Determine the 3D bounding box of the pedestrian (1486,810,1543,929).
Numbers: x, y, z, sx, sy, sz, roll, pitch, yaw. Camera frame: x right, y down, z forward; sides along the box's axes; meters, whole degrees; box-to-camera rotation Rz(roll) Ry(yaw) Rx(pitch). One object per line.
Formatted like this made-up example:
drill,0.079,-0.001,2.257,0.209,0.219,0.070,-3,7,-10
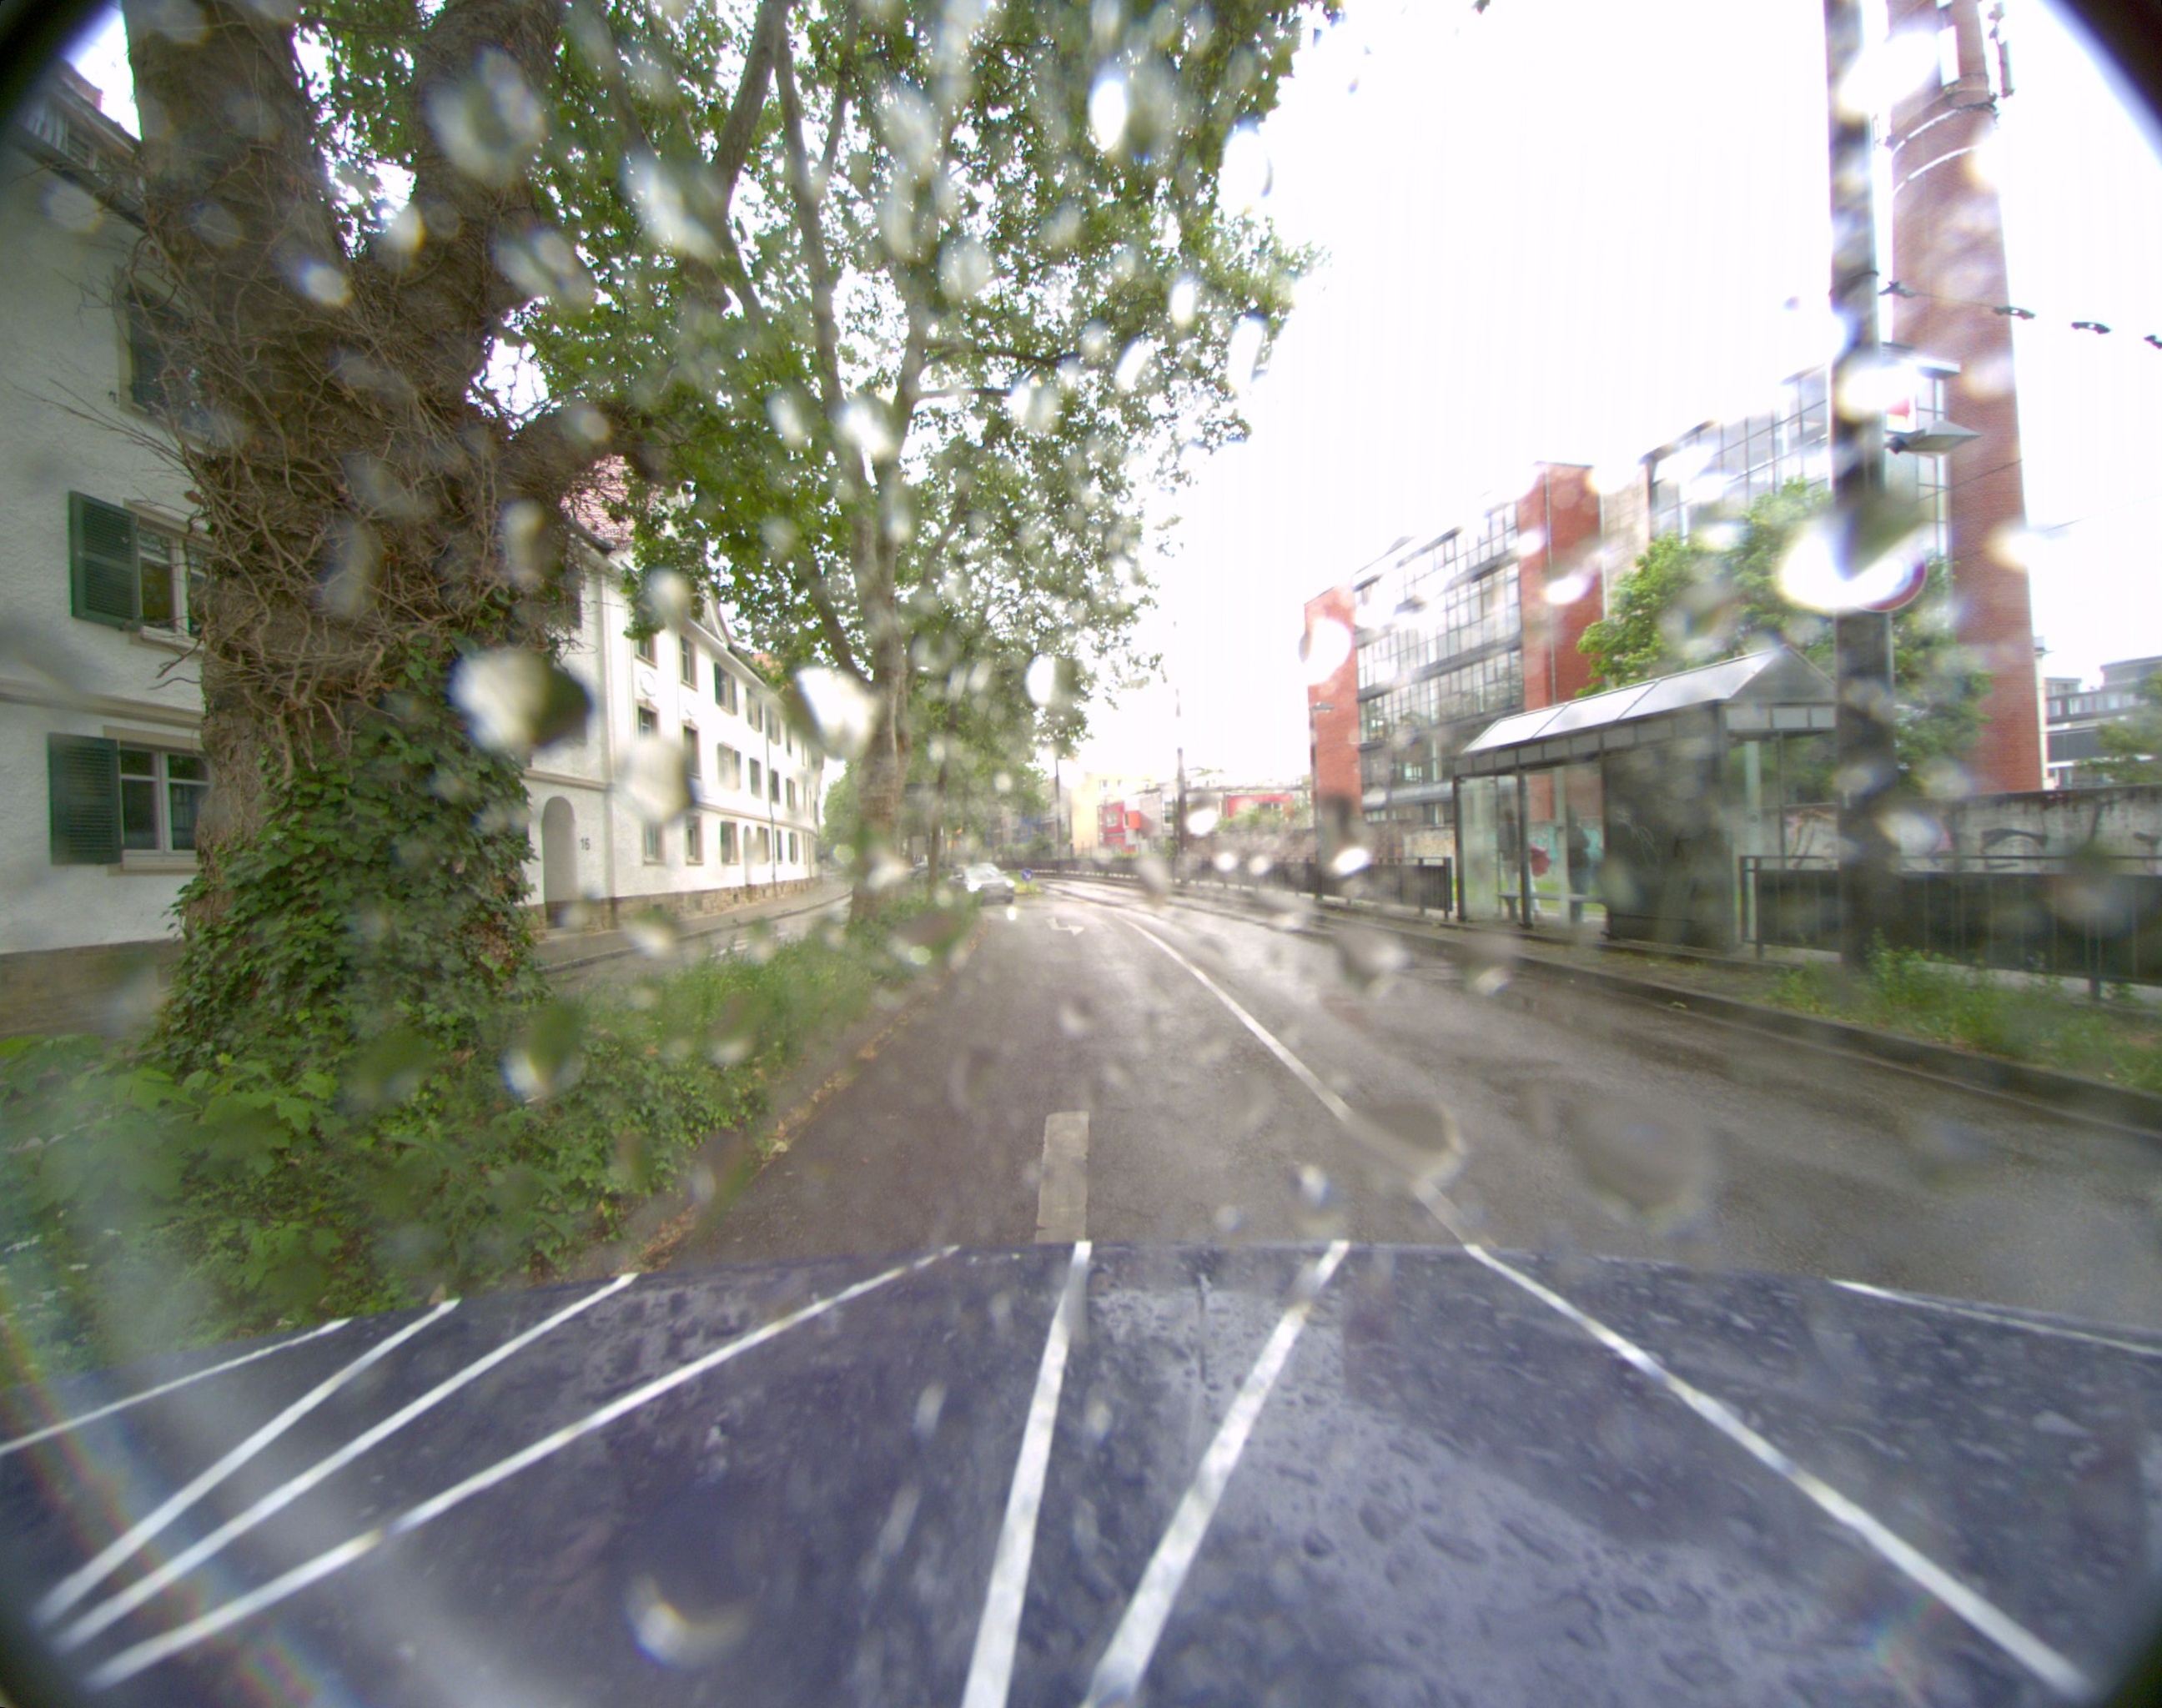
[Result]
pedestrian,6.467,0.223,11.343,0.584,1.721,0.566,-1,1,-41

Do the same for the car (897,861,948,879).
car,-14.639,1.453,70.234,4.328,1.603,1.749,-1,0,6

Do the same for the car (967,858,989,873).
car,-11.862,1.319,87.122,1.694,1.713,3.685,-1,0,-20

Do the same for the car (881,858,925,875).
car,-22.202,1.549,94.782,4.884,2.002,2.002,-1,0,11

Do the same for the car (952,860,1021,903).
car,-3.941,1.066,30.955,1.854,1.586,4.209,-2,0,-20

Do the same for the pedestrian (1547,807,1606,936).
pedestrian,6.901,0.234,10.579,0.584,1.721,0.566,-1,1,-43

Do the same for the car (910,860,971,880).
car,-11.042,1.271,59.880,4.224,1.532,1.932,-1,0,11
